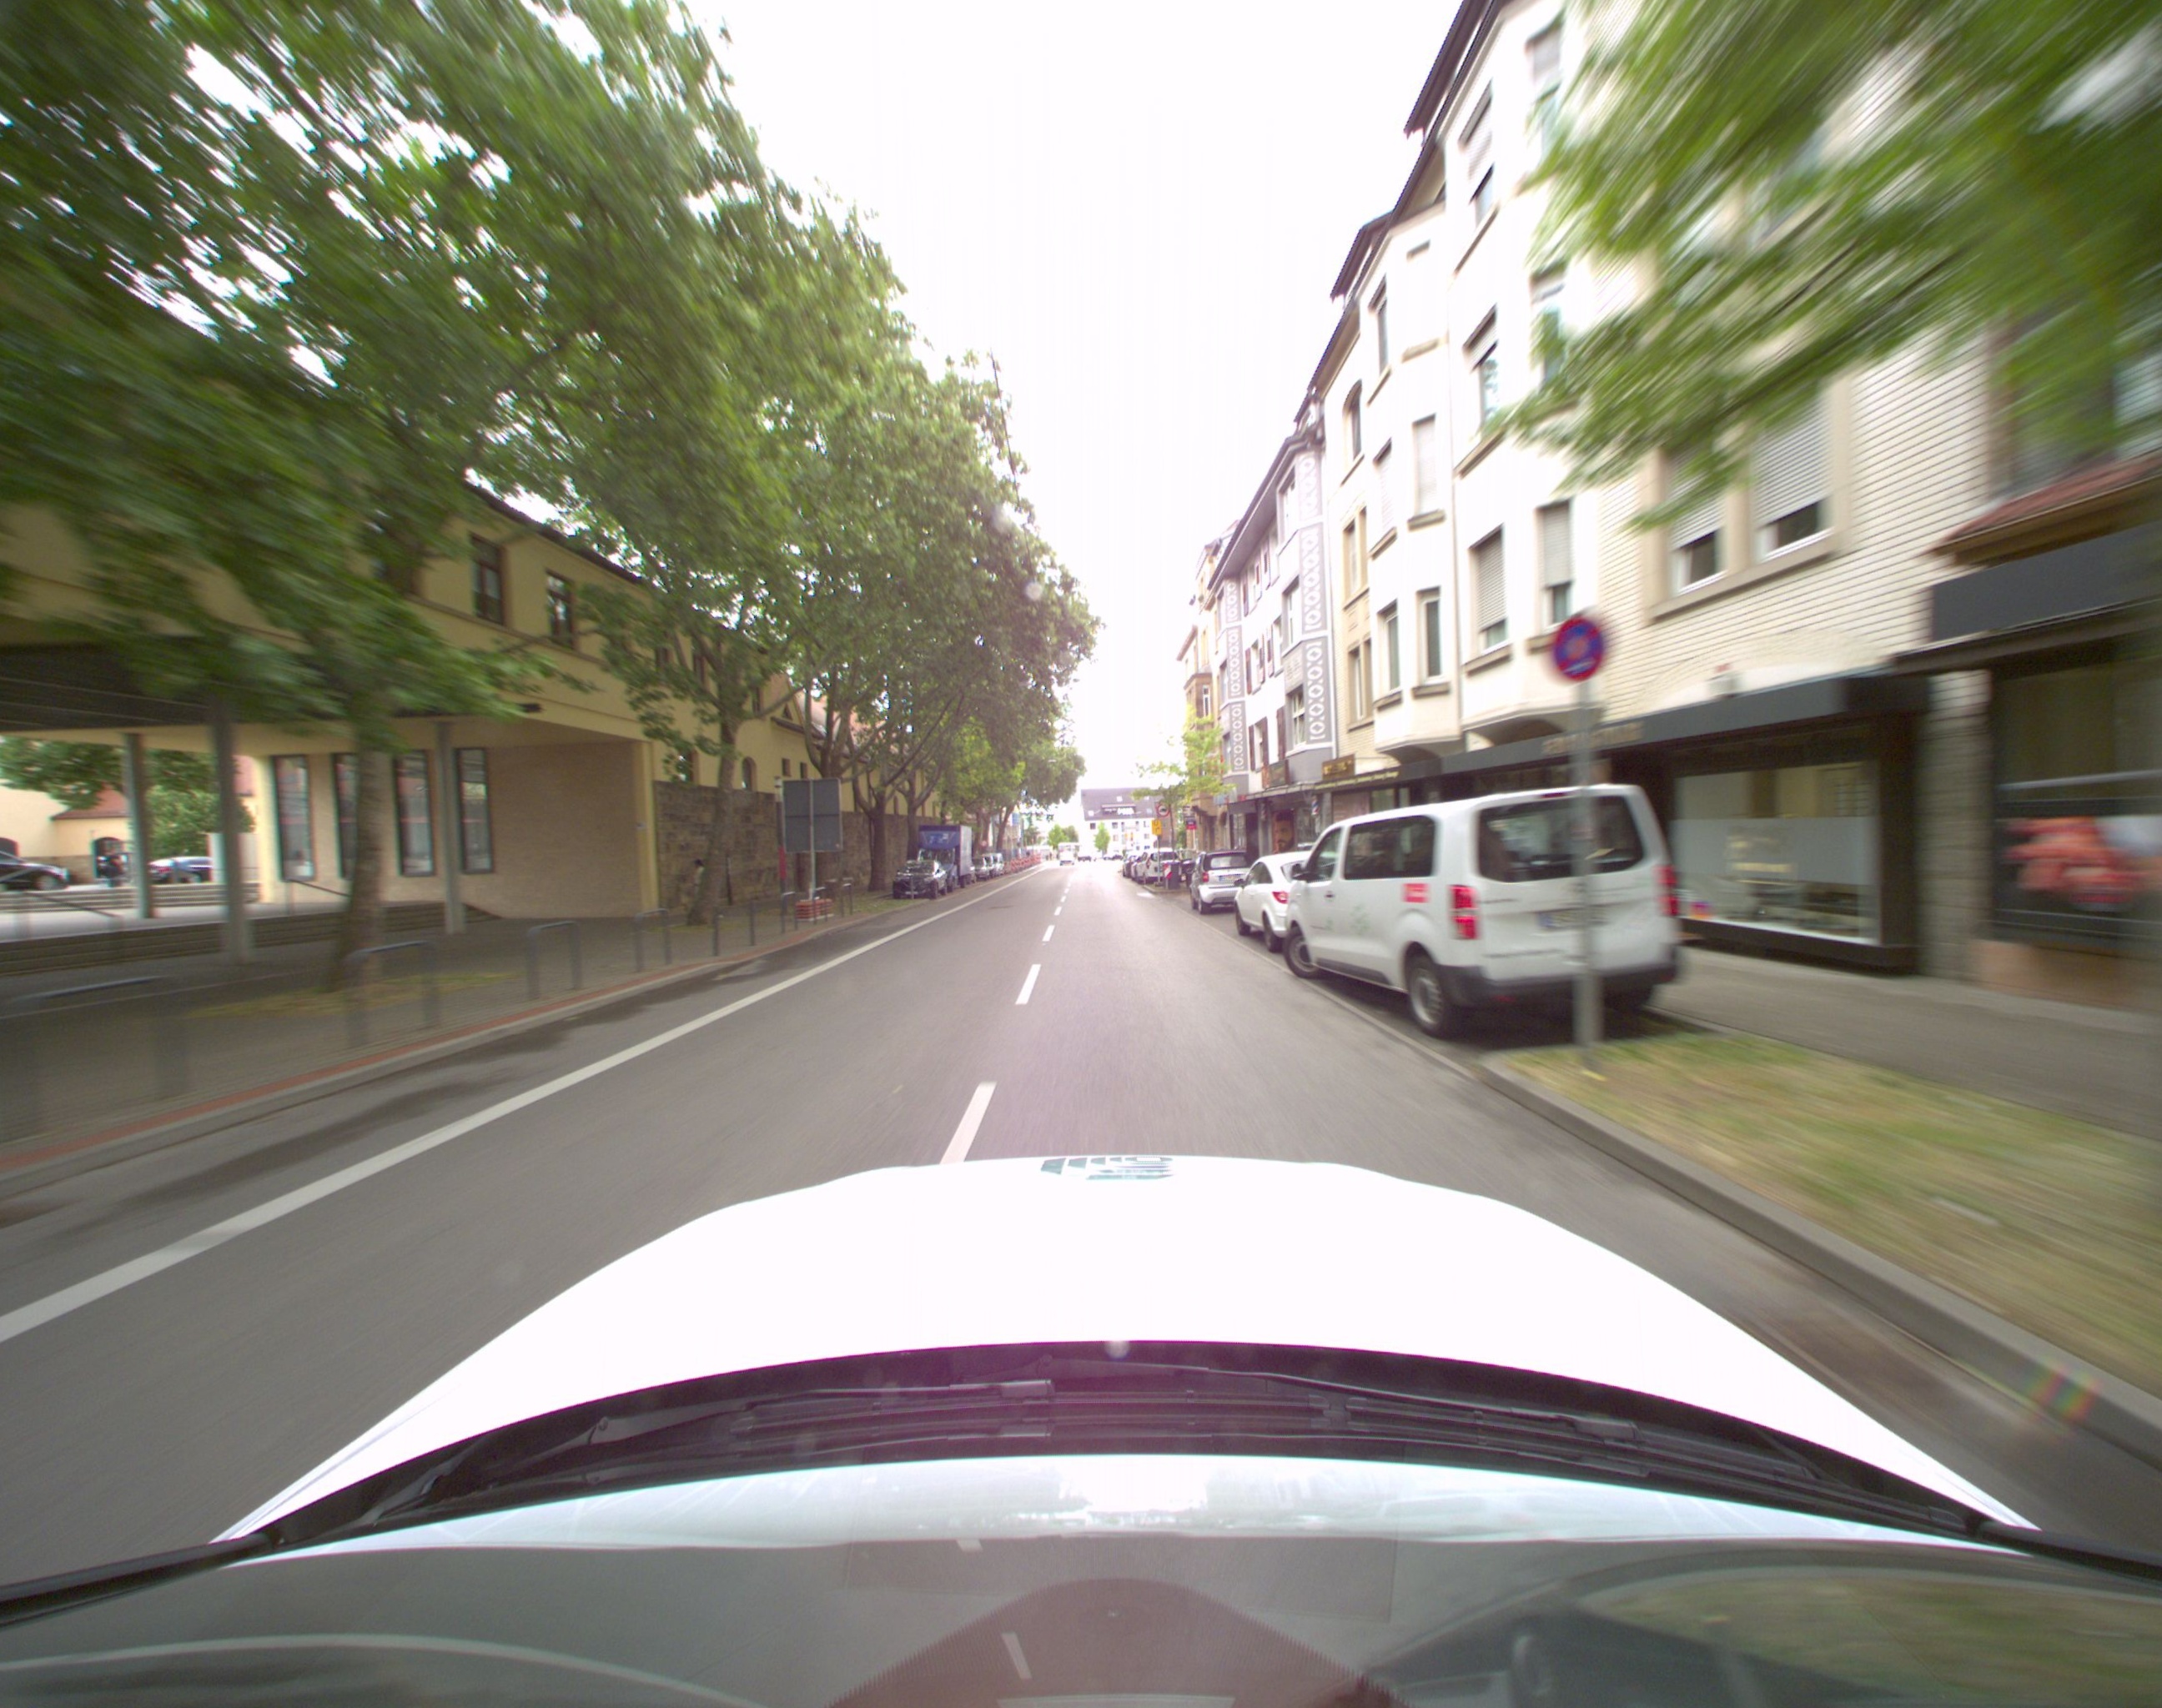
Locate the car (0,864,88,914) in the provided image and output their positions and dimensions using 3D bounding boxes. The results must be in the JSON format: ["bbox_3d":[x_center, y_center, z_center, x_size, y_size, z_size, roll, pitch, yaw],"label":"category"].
[{"bbox_3d":[-33.993,1.088,25.133,1.991,1.479,3.991,-1,0,-7],"label":"car"}]

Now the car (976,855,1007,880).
[{"bbox_3d":[-7.285,1.059,66.598,1.828,1.876,4.417,-3,0,1],"label":"car"}]

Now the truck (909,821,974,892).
[{"bbox_3d":[-7.200,0.118,42.875,2.208,3.416,7.244,0,0,-1],"label":"truck"}]

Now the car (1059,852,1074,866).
[{"bbox_3d":[-1.679,0.608,95.238,1.578,1.464,3.652,-5,0,0],"label":"car"}]

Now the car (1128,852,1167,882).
[{"bbox_3d":[3.493,0.655,43.336,1.601,1.397,4.274,-4,0,-1],"label":"car"}]

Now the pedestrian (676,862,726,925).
[{"bbox_3d":[-10.451,1.075,22.417,0.857,1.687,0.929,-1,0,9],"label":"pedestrian"}]

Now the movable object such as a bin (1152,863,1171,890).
[{"bbox_3d":[3.171,0.880,32.176,0.620,1.024,0.696,-2,0,-2],"label":"movable object such as a bin"}]

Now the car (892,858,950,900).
[{"bbox_3d":[-6.896,1.049,35.422,1.726,1.689,4.251,-1,-1,-1],"label":"car"}]

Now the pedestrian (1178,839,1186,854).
[{"bbox_3d":[12.225,-0.919,98.719,0.715,1.734,0.654,0,-1,-33],"label":"pedestrian"}]

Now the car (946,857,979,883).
[{"bbox_3d":[-7.288,0.968,50.257,1.474,1.574,2.993,-1,-1,2],"label":"car"}]

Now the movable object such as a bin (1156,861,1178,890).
[{"bbox_3d":[3.226,0.801,30.578,0.621,1.024,0.695,-2,0,-8],"label":"movable object such as a bin"}]

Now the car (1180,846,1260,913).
[{"bbox_3d":[3.603,0.614,21.553,1.476,1.534,3.522,-4,0,1],"label":"car"}]

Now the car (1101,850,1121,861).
[{"bbox_3d":[4.957,0.216,132.473,1.640,1.464,4.024,-5,-1,26],"label":"car"}]

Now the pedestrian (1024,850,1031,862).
[{"bbox_3d":[-8.019,0.334,122.583,0.919,1.720,0.799,-1,-1,3],"label":"pedestrian"}]

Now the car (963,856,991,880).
[{"bbox_3d":[-7.058,0.970,55.637,1.590,1.574,4.082,0,-1,-3],"label":"car"}]

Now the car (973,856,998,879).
[{"bbox_3d":[-7.117,1.019,60.912,1.504,1.631,4.111,0,-1,-2],"label":"car"}]

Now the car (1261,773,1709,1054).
[{"bbox_3d":[3.524,0.431,8.432,1.902,1.930,4.915,-4,0,-3],"label":"car"}]

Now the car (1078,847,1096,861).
[{"bbox_3d":[0.864,-0.030,117.088,2.194,1.931,5.247,-1,0,5],"label":"car"}]

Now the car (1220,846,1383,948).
[{"bbox_3d":[3.621,0.637,14.119,1.678,1.415,4.041,-4,0,0],"label":"car"}]

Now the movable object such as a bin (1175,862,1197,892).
[{"bbox_3d":[3.936,0.845,30.500,0.693,1.073,0.623,-1,0,-4],"label":"movable object such as a bin"}]

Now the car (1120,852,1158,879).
[{"bbox_3d":[3.496,0.674,49.510,1.734,1.463,4.772,-4,0,-2],"label":"car"}]

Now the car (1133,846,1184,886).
[{"bbox_3d":[3.586,0.537,38.432,1.675,1.663,4.539,-4,0,-3],"label":"car"}]
